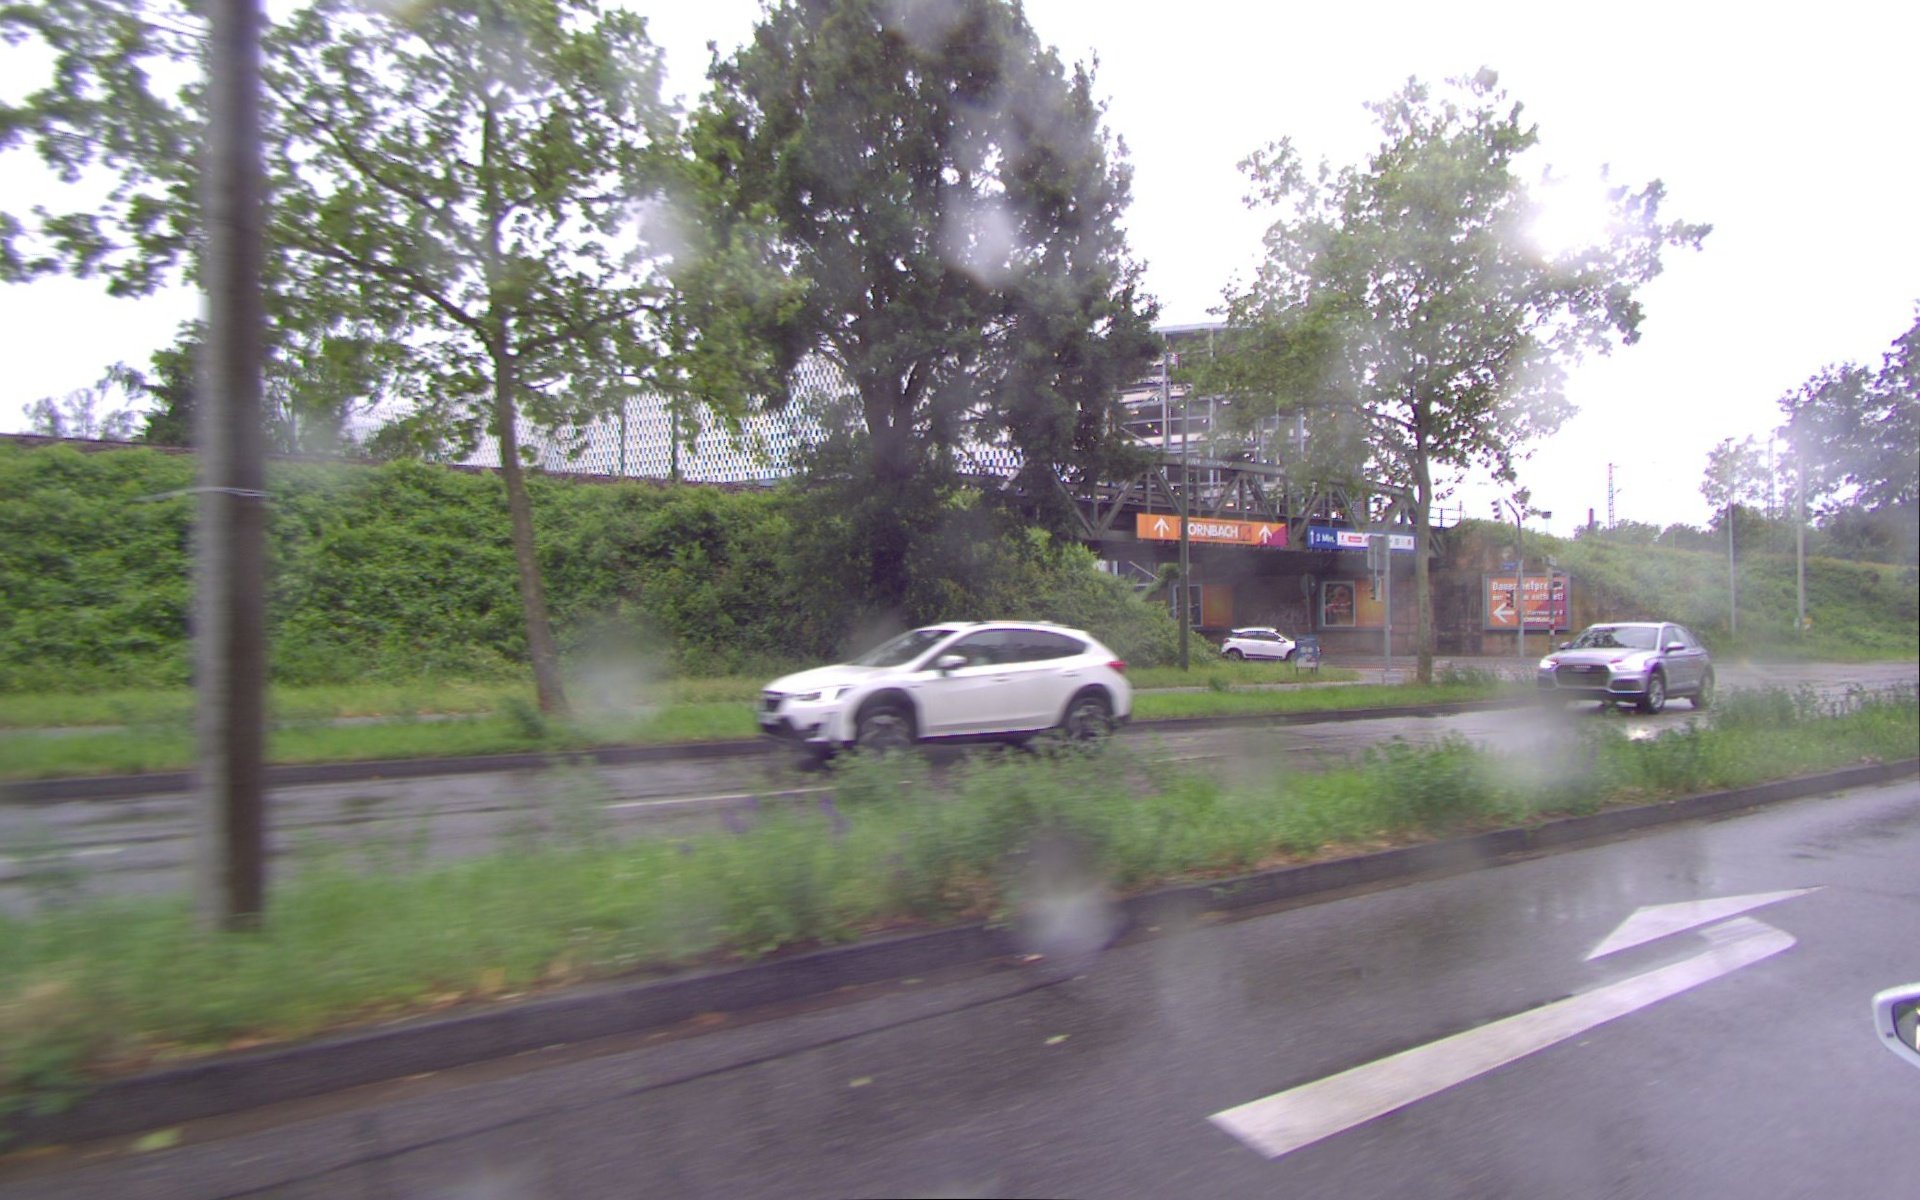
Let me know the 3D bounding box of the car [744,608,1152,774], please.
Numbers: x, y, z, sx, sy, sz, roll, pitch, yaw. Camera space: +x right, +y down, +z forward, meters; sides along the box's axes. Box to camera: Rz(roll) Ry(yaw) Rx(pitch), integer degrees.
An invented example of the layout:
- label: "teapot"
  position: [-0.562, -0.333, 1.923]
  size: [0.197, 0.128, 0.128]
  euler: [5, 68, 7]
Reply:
- label: "car"
  position: [-0.066, 0.953, 11.724]
  size: [4.466, 1.610, 1.848]
  euler: [1, -2, -30]

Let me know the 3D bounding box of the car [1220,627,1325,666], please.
- label: "car"
  position: [13.232, 1.948, 42.589]
  size: [3.988, 1.541, 1.998]
  euler: [0, -2, 27]

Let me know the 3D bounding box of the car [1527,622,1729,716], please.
- label: "car"
  position: [12.925, 1.250, 19.355]
  size: [4.476, 1.610, 1.844]
  euler: [2, -2, -37]
